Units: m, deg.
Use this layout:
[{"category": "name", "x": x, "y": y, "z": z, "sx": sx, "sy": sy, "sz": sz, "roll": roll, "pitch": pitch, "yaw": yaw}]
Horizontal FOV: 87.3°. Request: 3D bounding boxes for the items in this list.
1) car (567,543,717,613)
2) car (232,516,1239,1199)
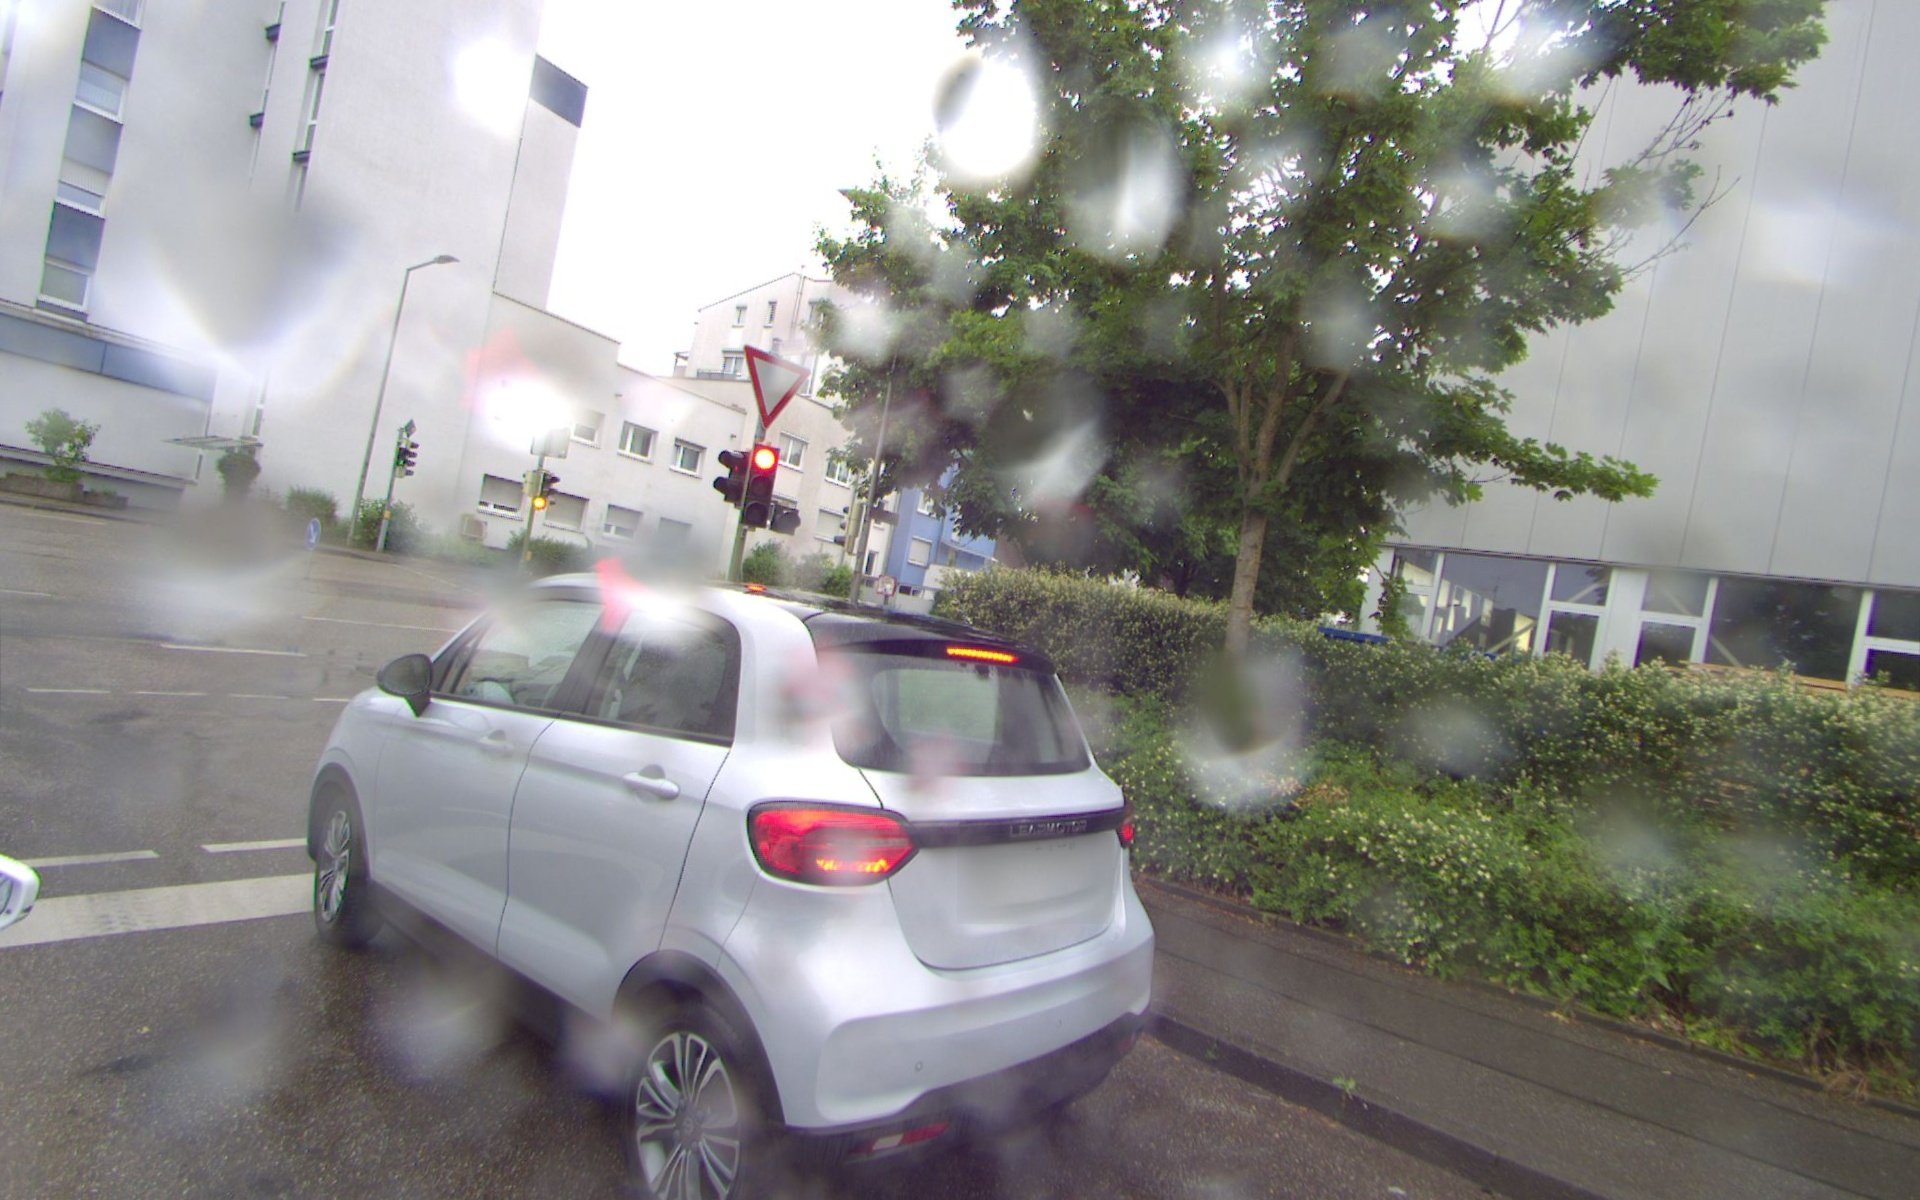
[{"category": "car", "x": -10.098, "y": -0.675, "z": 32.184, "sx": 1.717, "sy": 1.504, "sz": 4.134, "roll": 12, "pitch": 1, "yaw": 40}, {"category": "car", "x": -1.179, "y": 0.708, "z": 3.900, "sx": 3.850, "sy": 1.573, "sz": 1.688, "roll": 8, "pitch": 0, "yaw": 41}]
